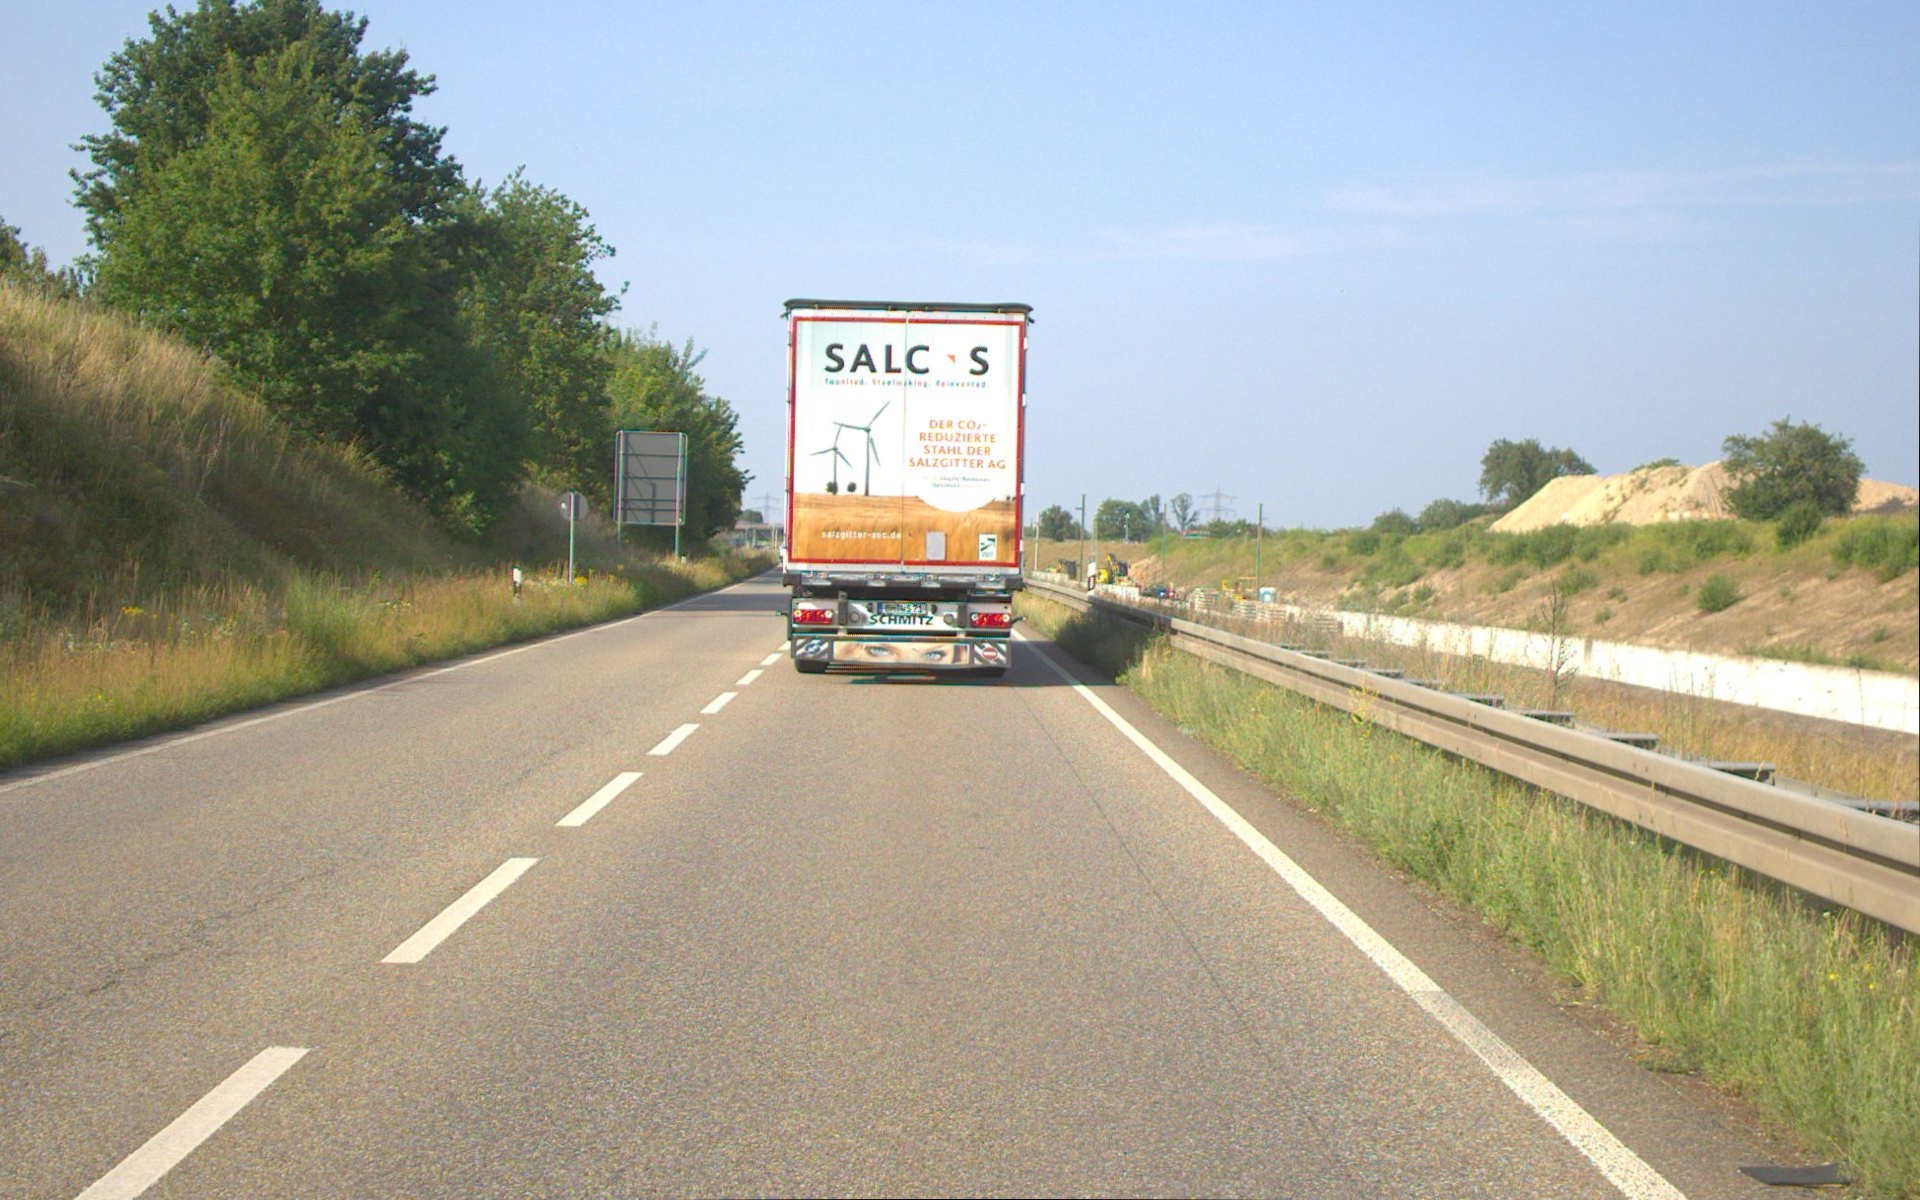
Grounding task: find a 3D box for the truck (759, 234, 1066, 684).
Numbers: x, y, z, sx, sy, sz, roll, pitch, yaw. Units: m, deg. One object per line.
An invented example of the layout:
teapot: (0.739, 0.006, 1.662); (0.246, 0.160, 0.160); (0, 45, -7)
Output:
truck: (-0.667, -1.538, 40.299); (3.153, 4.672, 8.442); (1, 1, -2)
